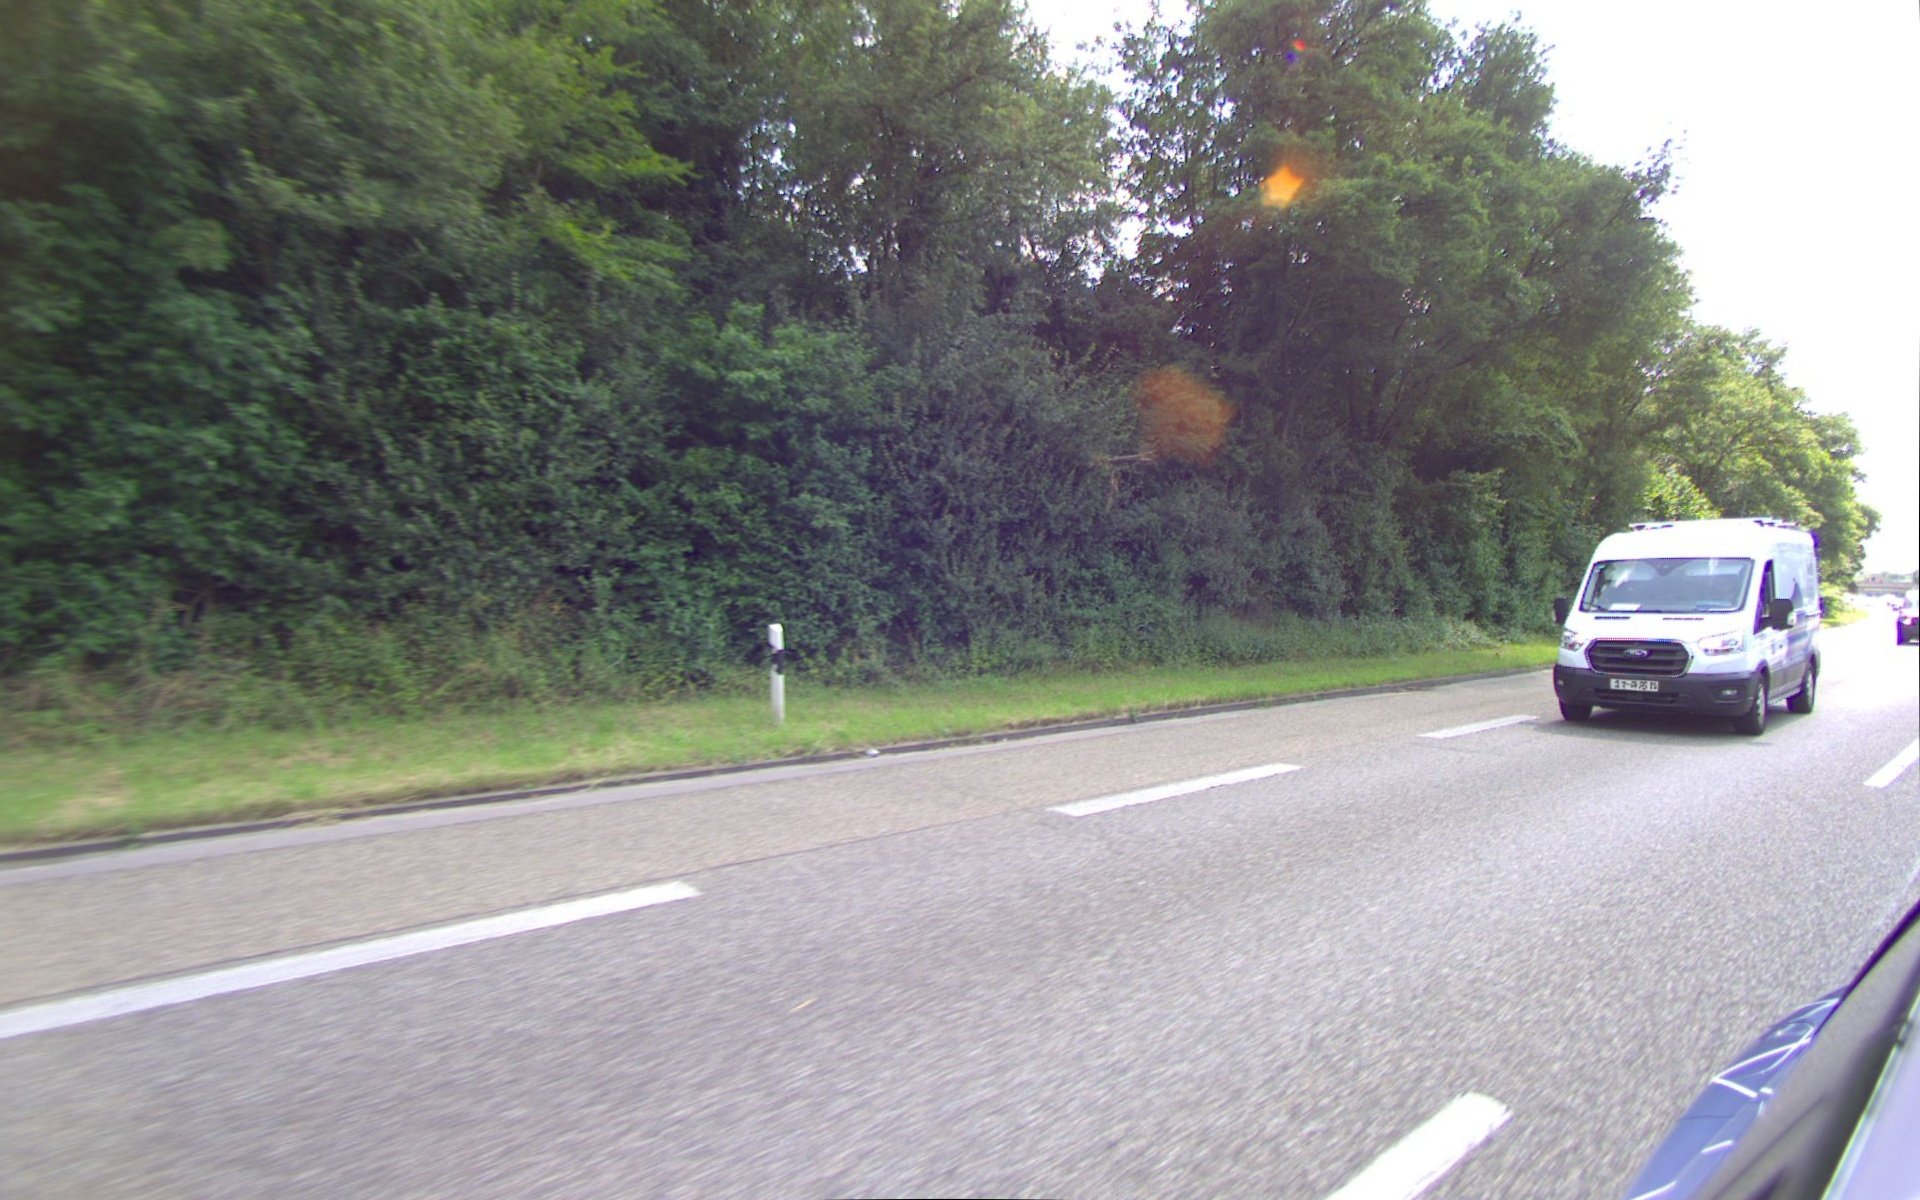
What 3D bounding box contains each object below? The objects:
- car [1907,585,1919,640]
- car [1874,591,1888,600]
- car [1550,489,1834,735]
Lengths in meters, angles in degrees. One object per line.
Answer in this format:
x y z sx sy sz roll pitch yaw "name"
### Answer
33.936 0.391 34.555 4.318 1.828 1.907 0 0 -41 "car"
160.769 -0.852 176.700 1.780 1.540 3.939 1 1 42 "car"
9.566 0.117 13.022 5.192 2.539 2.100 0 0 -44 "car"
